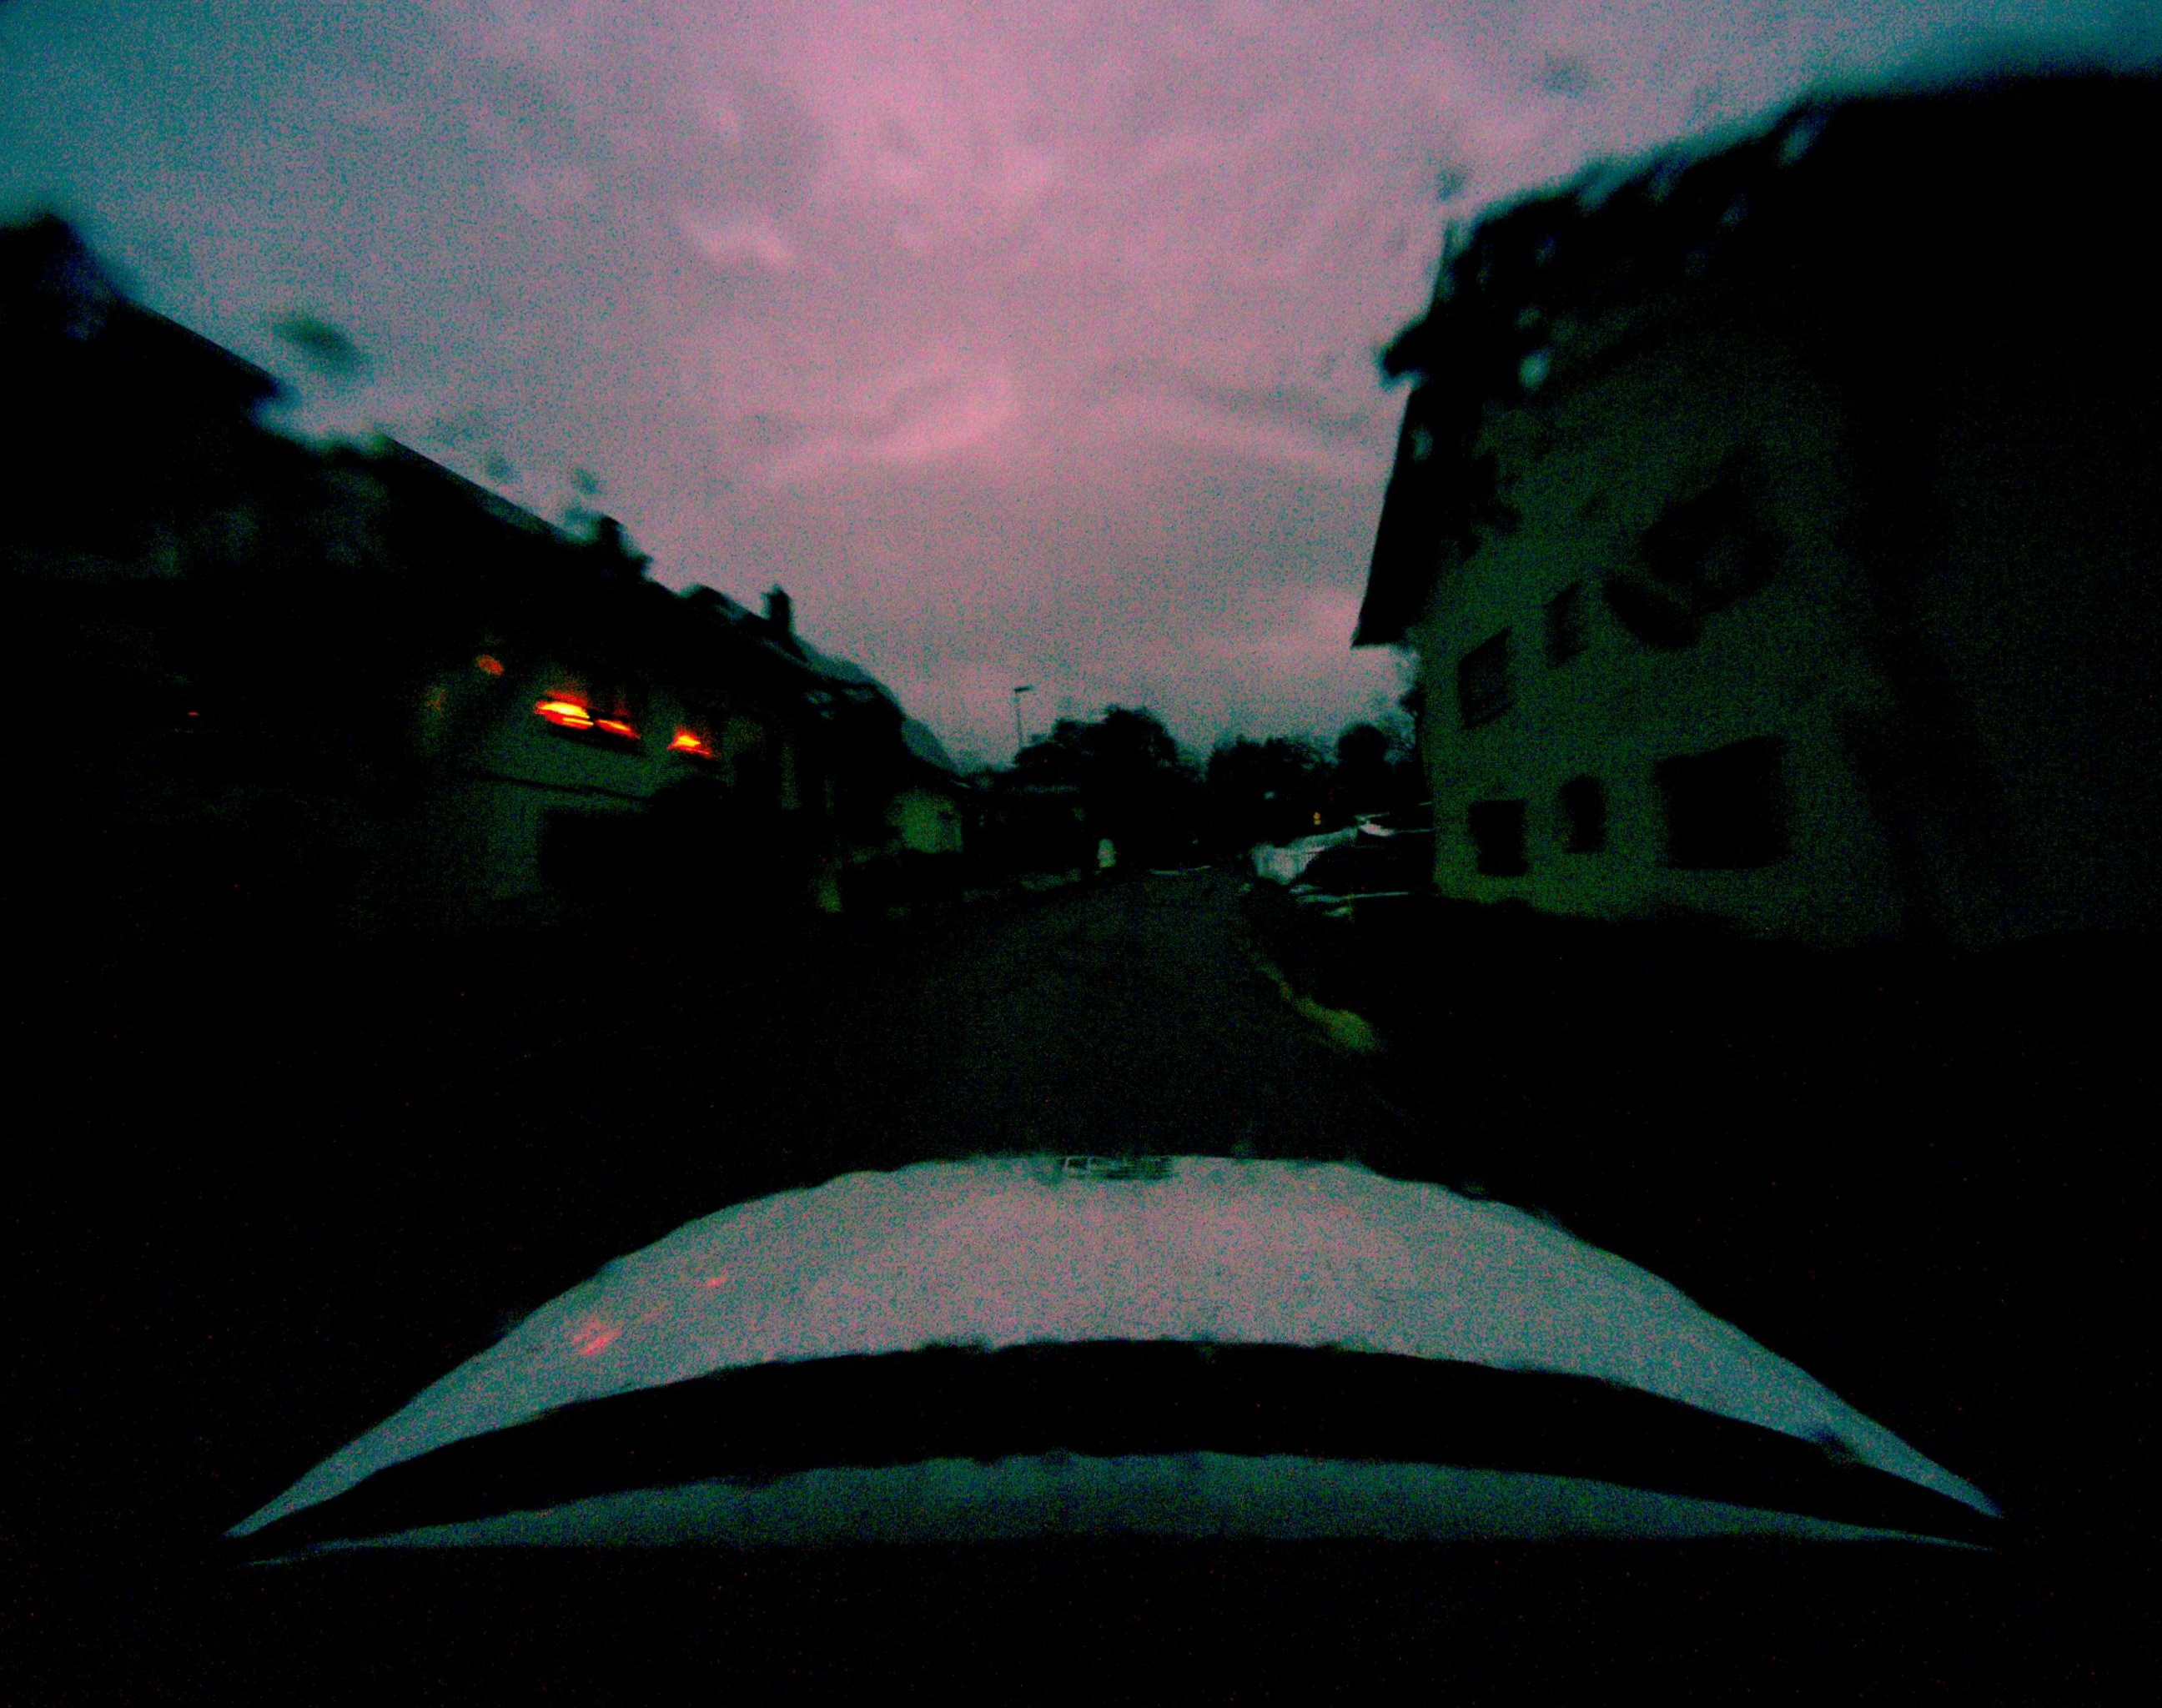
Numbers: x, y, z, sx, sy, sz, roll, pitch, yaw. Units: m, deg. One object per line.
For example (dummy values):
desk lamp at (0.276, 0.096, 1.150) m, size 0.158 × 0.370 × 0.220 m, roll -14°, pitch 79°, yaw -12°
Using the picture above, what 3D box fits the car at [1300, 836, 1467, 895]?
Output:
car at (9.241, 0.336, 25.260) m, size 4.478 × 1.443 × 2.005 m, roll -4°, pitch 0°, yaw 8°
